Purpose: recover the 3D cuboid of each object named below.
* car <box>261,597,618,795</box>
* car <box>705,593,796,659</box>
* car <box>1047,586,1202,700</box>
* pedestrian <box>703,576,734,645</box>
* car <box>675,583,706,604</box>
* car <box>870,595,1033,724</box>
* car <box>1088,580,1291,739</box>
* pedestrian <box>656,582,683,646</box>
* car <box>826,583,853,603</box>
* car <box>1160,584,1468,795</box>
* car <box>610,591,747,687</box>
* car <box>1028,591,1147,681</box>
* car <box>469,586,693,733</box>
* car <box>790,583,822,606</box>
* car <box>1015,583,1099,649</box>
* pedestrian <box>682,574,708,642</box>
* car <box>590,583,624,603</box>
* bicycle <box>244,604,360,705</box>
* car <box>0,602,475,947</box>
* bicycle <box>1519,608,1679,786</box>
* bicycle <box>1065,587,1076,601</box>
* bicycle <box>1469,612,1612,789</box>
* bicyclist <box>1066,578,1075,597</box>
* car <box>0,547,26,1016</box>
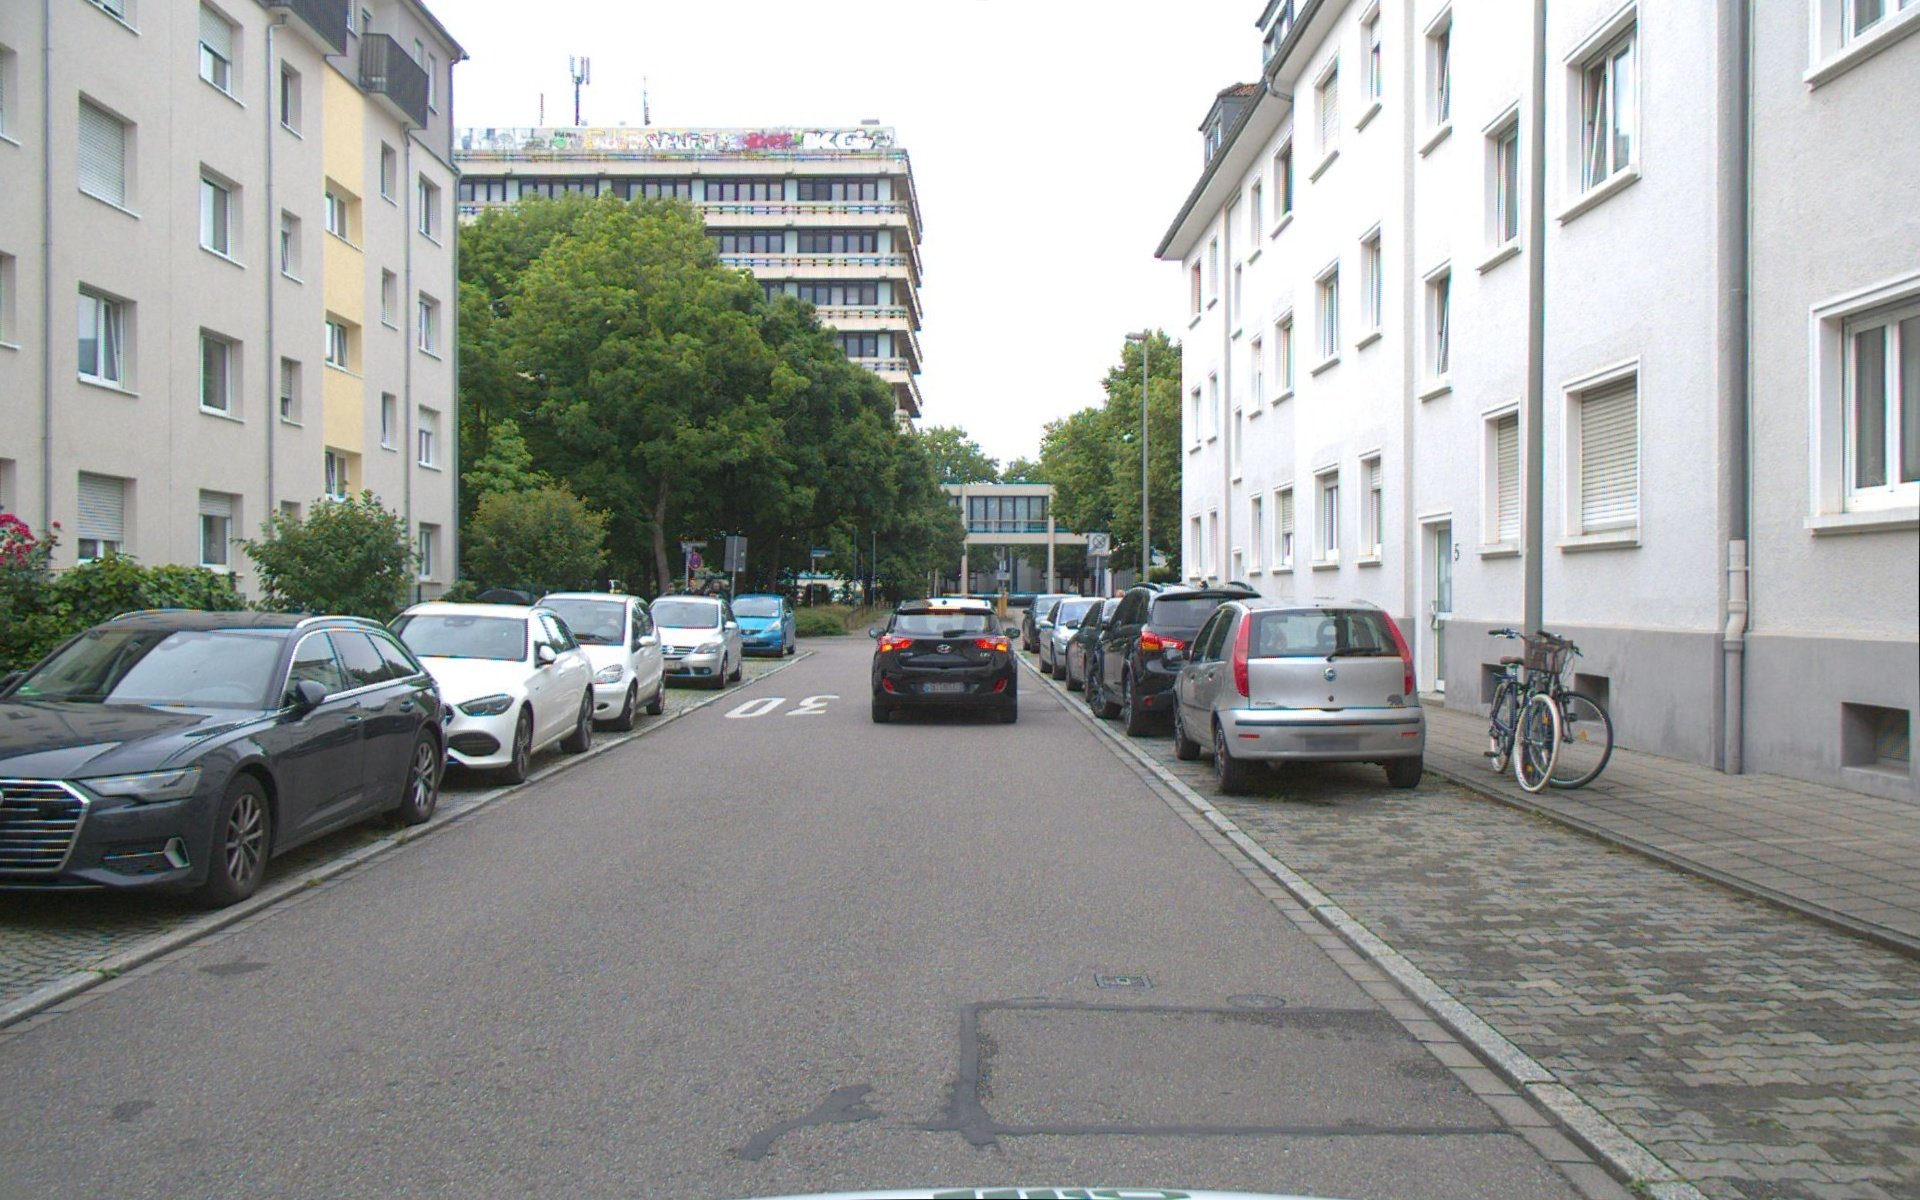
[{"bbox_3d":[-4.553,0.751,15.245,1.856,1.477,4.520,2,0,-1],"label":"car"},{"bbox_3d":[-5.278,0.621,42.099,1.954,1.568,3.998,1,0,-3],"label":"car"},{"bbox_3d":[2.370,0.568,24.924,1.783,1.546,4.672,0,0,-1],"label":"car"},{"bbox_3d":[-6.618,0.273,45.309,0.699,1.863,0.797,0,0,1],"label":"pedestrian"},{"bbox_3d":[-18.492,-0.460,113.702,1.632,1.356,3.395,0,1,-1],"label":"car"},{"bbox_3d":[-0.093,0.676,21.087,1.864,1.458,4.233,-1,0,0],"label":"car"},{"bbox_3d":[2.519,0.595,19.070,1.783,1.631,4.091,0,0,0],"label":"car"},{"bbox_3d":[-7.887,0.373,44.892,0.588,1.743,0.648,0,0,1],"label":"pedestrian"},{"bbox_3d":[-8.250,-0.510,113.711,1.632,1.356,3.395,0,1,-1],"label":"car"},{"bbox_3d":[2.883,0.658,14.364,1.783,1.529,4.091,-1,0,0],"label":"car"},{"bbox_3d":[-4.966,0.643,29.678,1.954,1.568,3.998,1,0,-3],"label":"car"},{"bbox_3d":[2.298,0.605,30.983,1.783,1.546,4.672,0,0,-1],"label":"car"},{"bbox_3d":[-4.768,0.682,21.479,1.856,1.626,4.520,2,0,-1],"label":"car"},{"bbox_3d":[-9.320,-0.370,100.260,1.632,1.356,3.395,0,1,-1],"label":"car"},{"bbox_3d":[2.436,0.381,42.437,1.783,1.546,4.672,-1,0,-1],"label":"car"},{"bbox_3d":[-7.297,0.214,45.556,0.592,1.863,0.675,0,0,1],"label":"pedestrian"},{"bbox_3d":[-24.300,-0.489,113.968,1.632,1.356,3.395,0,1,-1],"label":"car"},{"bbox_3d":[-8.604,0.684,21.714,0.716,1.232,2.090,0,1,-1],"label":"bicycle"},{"bbox_3d":[-4.507,0.798,9.856,1.856,1.477,4.666,2,0,-1],"label":"car"},{"bbox_3d":[4.783,0.680,12.512,0.564,1.196,2.038,-1,0,5],"label":"bicycle"},{"bbox_3d":[8.439,-0.465,126.443,0.678,1.014,1.735,0,1,0],"label":"bicycle"},{"bbox_3d":[4.358,0.711,12.542,0.519,1.196,2.038,-1,0,5],"label":"bicycle"},{"bbox_3d":[8.448,-0.931,126.478,0.679,1.469,0.795,0,0,0],"label":"bicyclist"},{"bbox_3d":[-4.499,0.661,4.054,1.856,1.770,4.474,2,0,-1],"label":"car"}]
